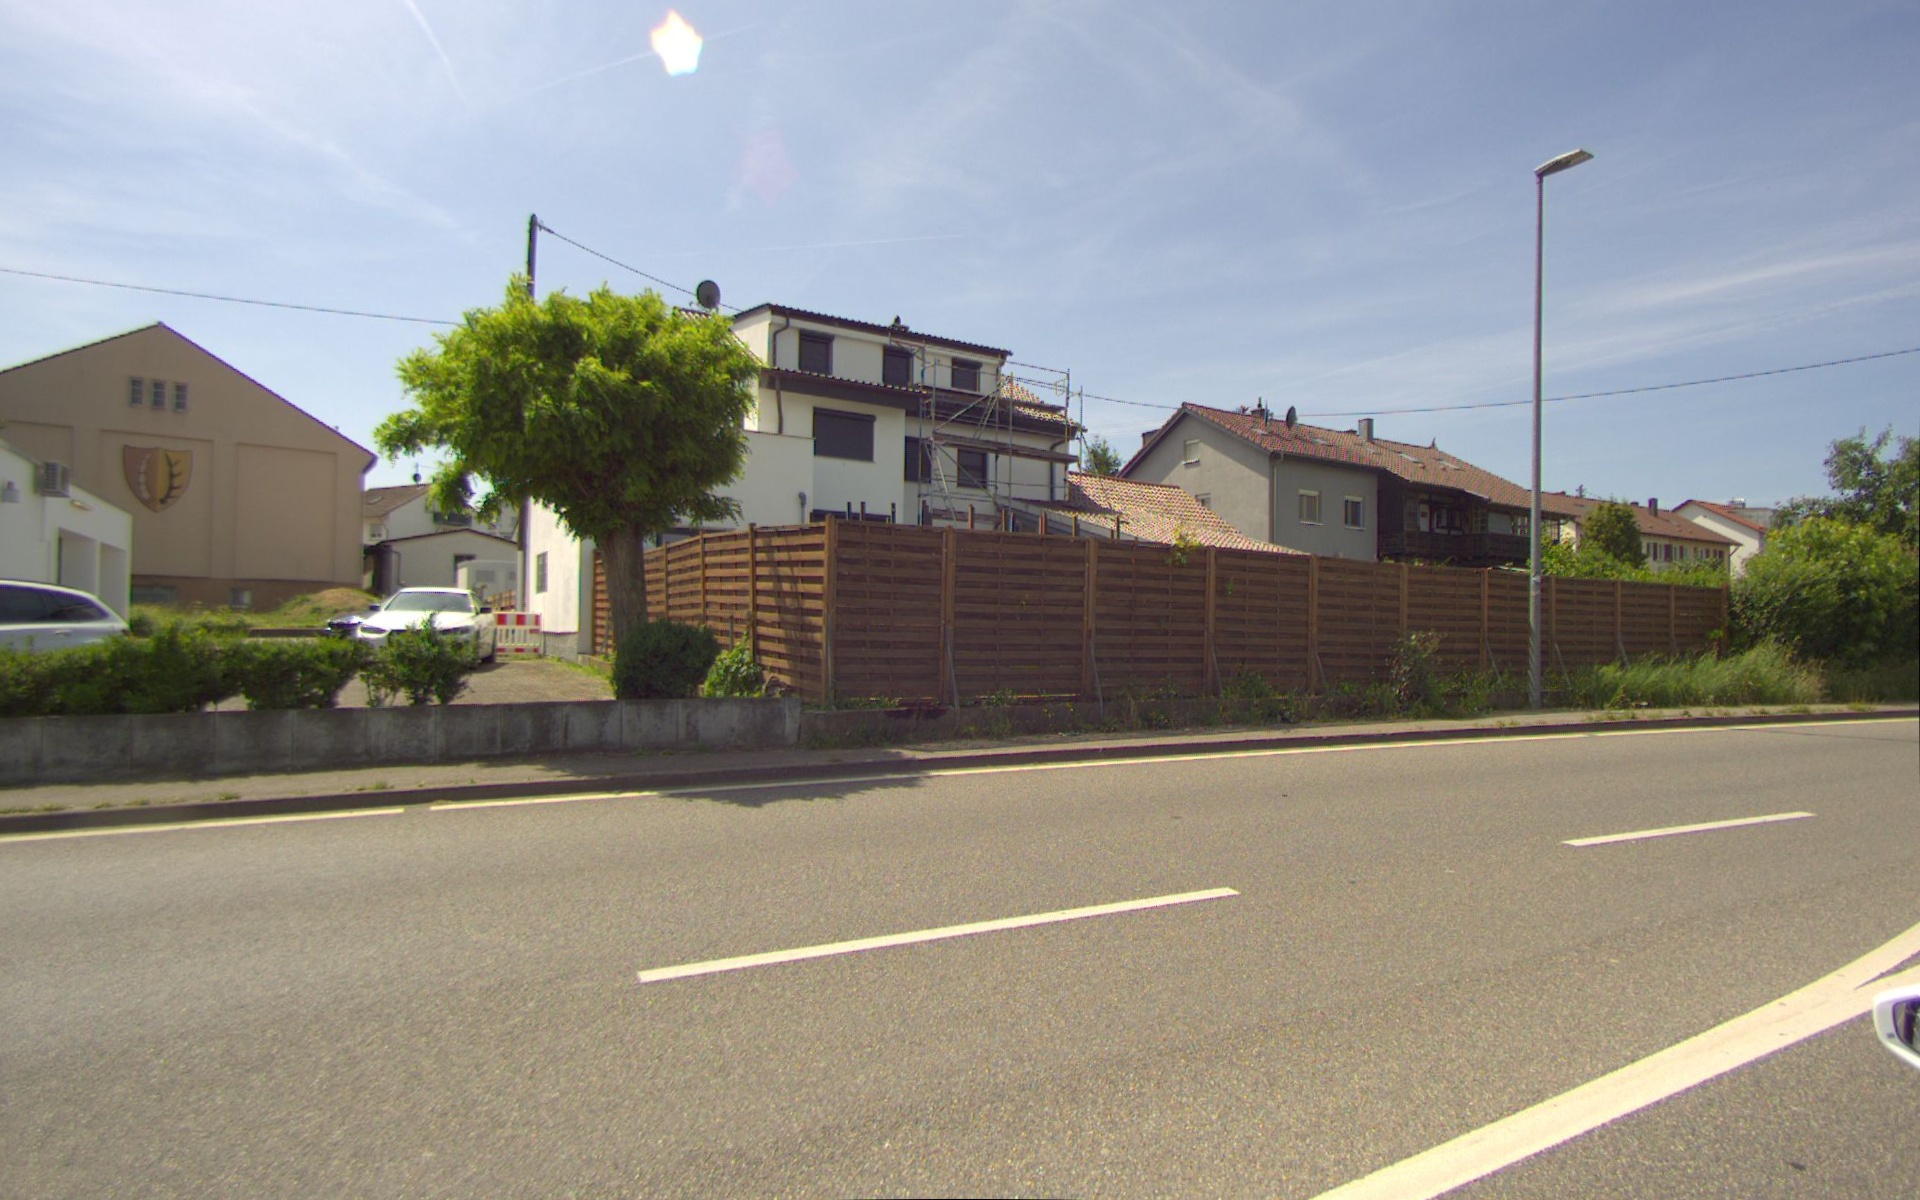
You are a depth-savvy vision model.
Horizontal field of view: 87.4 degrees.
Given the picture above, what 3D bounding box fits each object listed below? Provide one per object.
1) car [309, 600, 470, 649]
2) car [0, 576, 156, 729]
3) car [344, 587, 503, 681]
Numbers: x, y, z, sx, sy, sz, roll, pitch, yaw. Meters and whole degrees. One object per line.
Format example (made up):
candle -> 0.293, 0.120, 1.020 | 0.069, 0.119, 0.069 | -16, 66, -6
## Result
car -> -16.898, 0.678, 29.980 | 1.756, 1.238, 3.999 | 2, 1, 20
car -> -10.162, 0.482, 9.525 | 1.822, 1.467, 4.339 | 2, 0, -5
car -> -9.689, 0.557, 18.468 | 1.805, 1.530, 3.985 | 1, 0, -17
